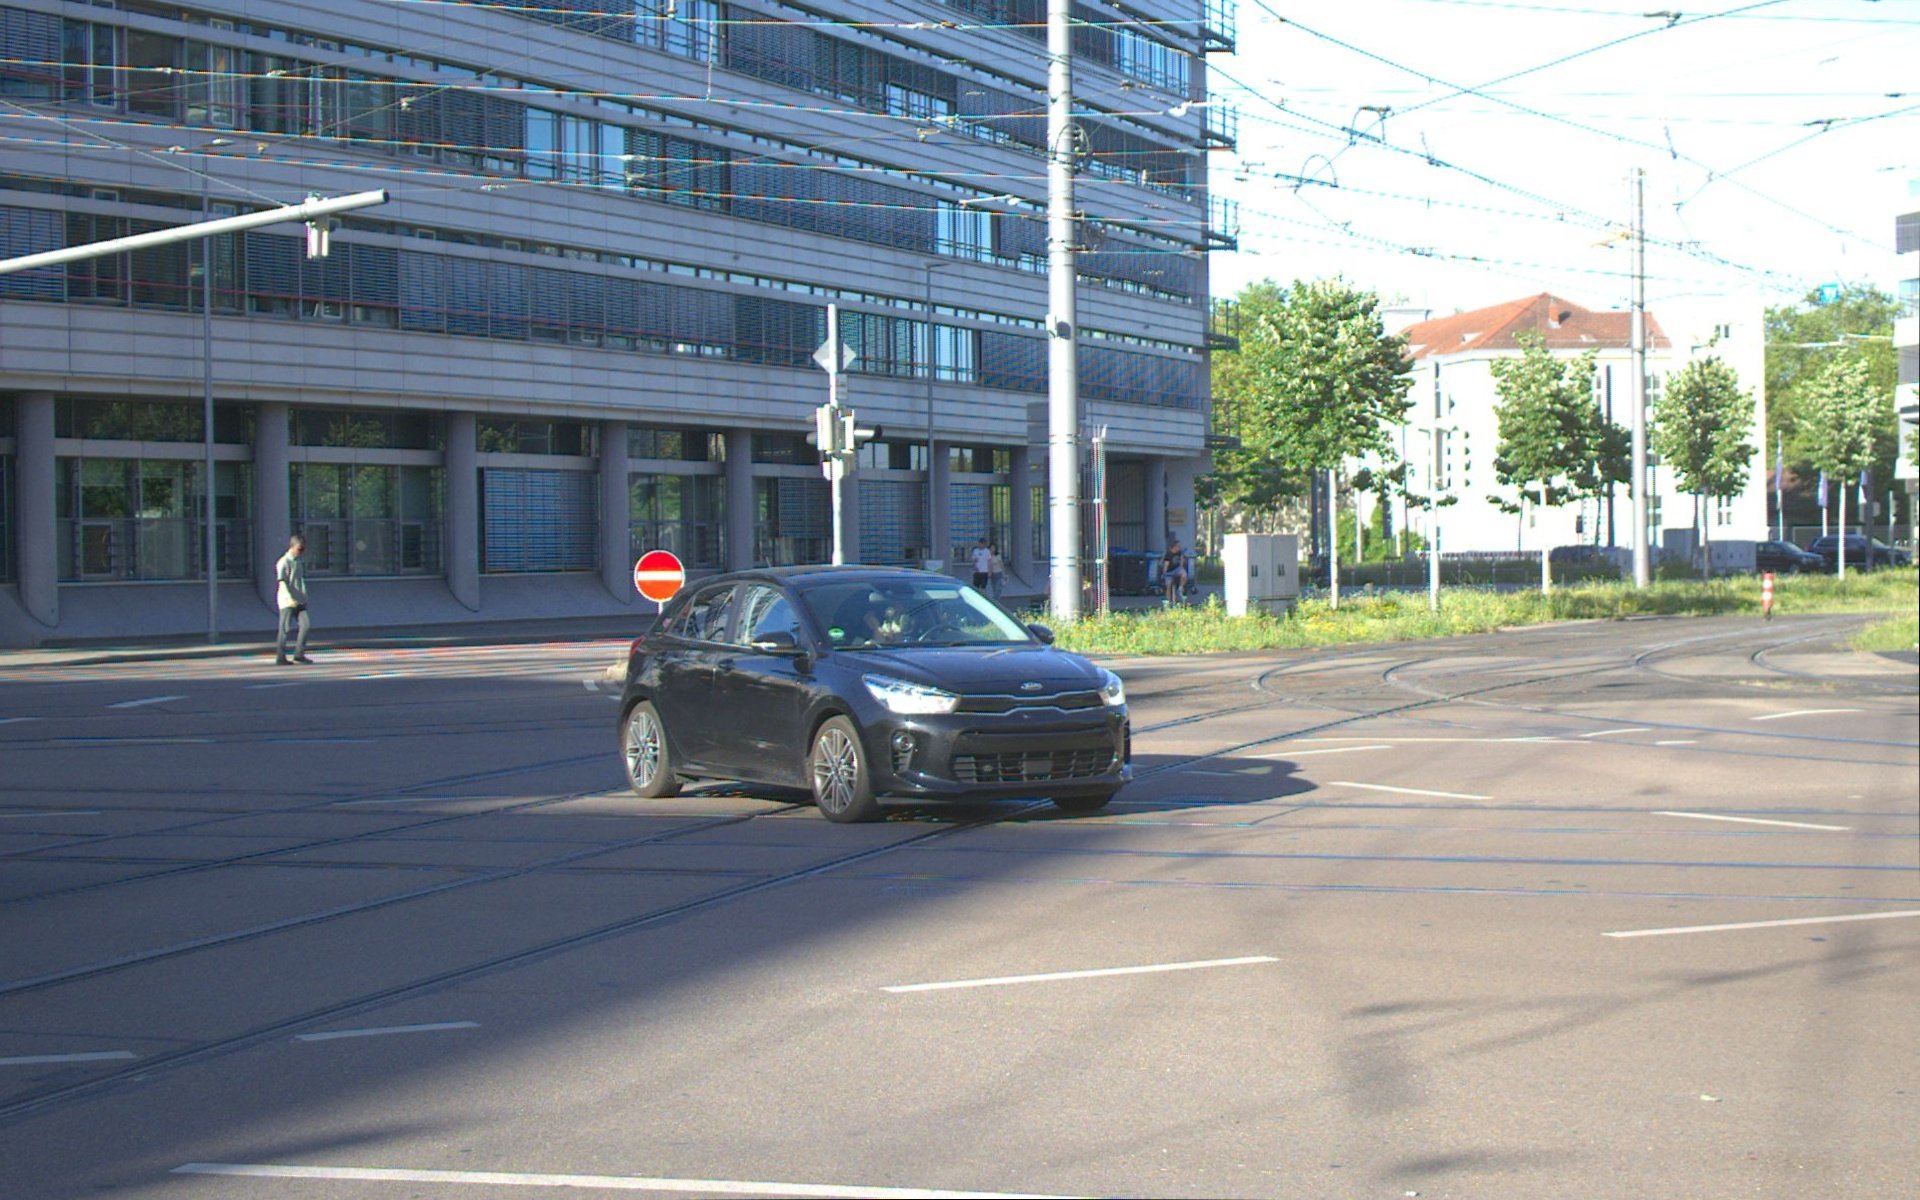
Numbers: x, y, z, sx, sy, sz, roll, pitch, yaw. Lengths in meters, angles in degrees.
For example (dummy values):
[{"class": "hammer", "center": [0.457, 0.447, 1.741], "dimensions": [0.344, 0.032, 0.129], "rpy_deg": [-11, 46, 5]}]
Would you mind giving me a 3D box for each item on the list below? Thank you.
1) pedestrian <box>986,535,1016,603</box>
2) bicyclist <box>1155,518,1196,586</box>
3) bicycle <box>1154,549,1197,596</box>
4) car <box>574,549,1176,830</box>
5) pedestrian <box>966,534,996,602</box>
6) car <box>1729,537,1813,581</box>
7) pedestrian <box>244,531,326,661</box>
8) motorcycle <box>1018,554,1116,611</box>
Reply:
[{"class": "pedestrian", "center": [1.059, -0.802, 87.874], "dimensions": [0.549, 1.727, 0.641], "rpy_deg": [0, 1, 23]}, {"class": "bicyclist", "center": [5.264, -1.172, 84.023], "dimensions": [0.764, 1.661, 0.993], "rpy_deg": [0, 1, 19]}, {"class": "bicycle", "center": [5.270, -0.678, 84.042], "dimensions": [0.643, 1.104, 1.683], "rpy_deg": [0, 1, 19]}, {"class": "car", "center": [-0.634, 0.444, 20.616], "dimensions": [1.791, 1.461, 4.311], "rpy_deg": [-2, 2, -29]}, {"class": "pedestrian", "center": [0.529, -0.814, 88.107], "dimensions": [0.549, 1.727, 0.641], "rpy_deg": [0, 1, 23]}, {"class": "car", "center": [38.039, -1.921, 161.269], "dimensions": [1.993, 2.007, 4.001], "rpy_deg": [-1, 1, -19]}, {"class": "pedestrian", "center": [-9.558, -0.055, 48.679], "dimensions": [0.883, 1.817, 0.676], "rpy_deg": [-1, 0, 22]}, {"class": "motorcycle", "center": [2.412, -0.407, 77.001], "dimensions": [0.985, 1.227, 2.938], "rpy_deg": [0, 1, 28]}]
